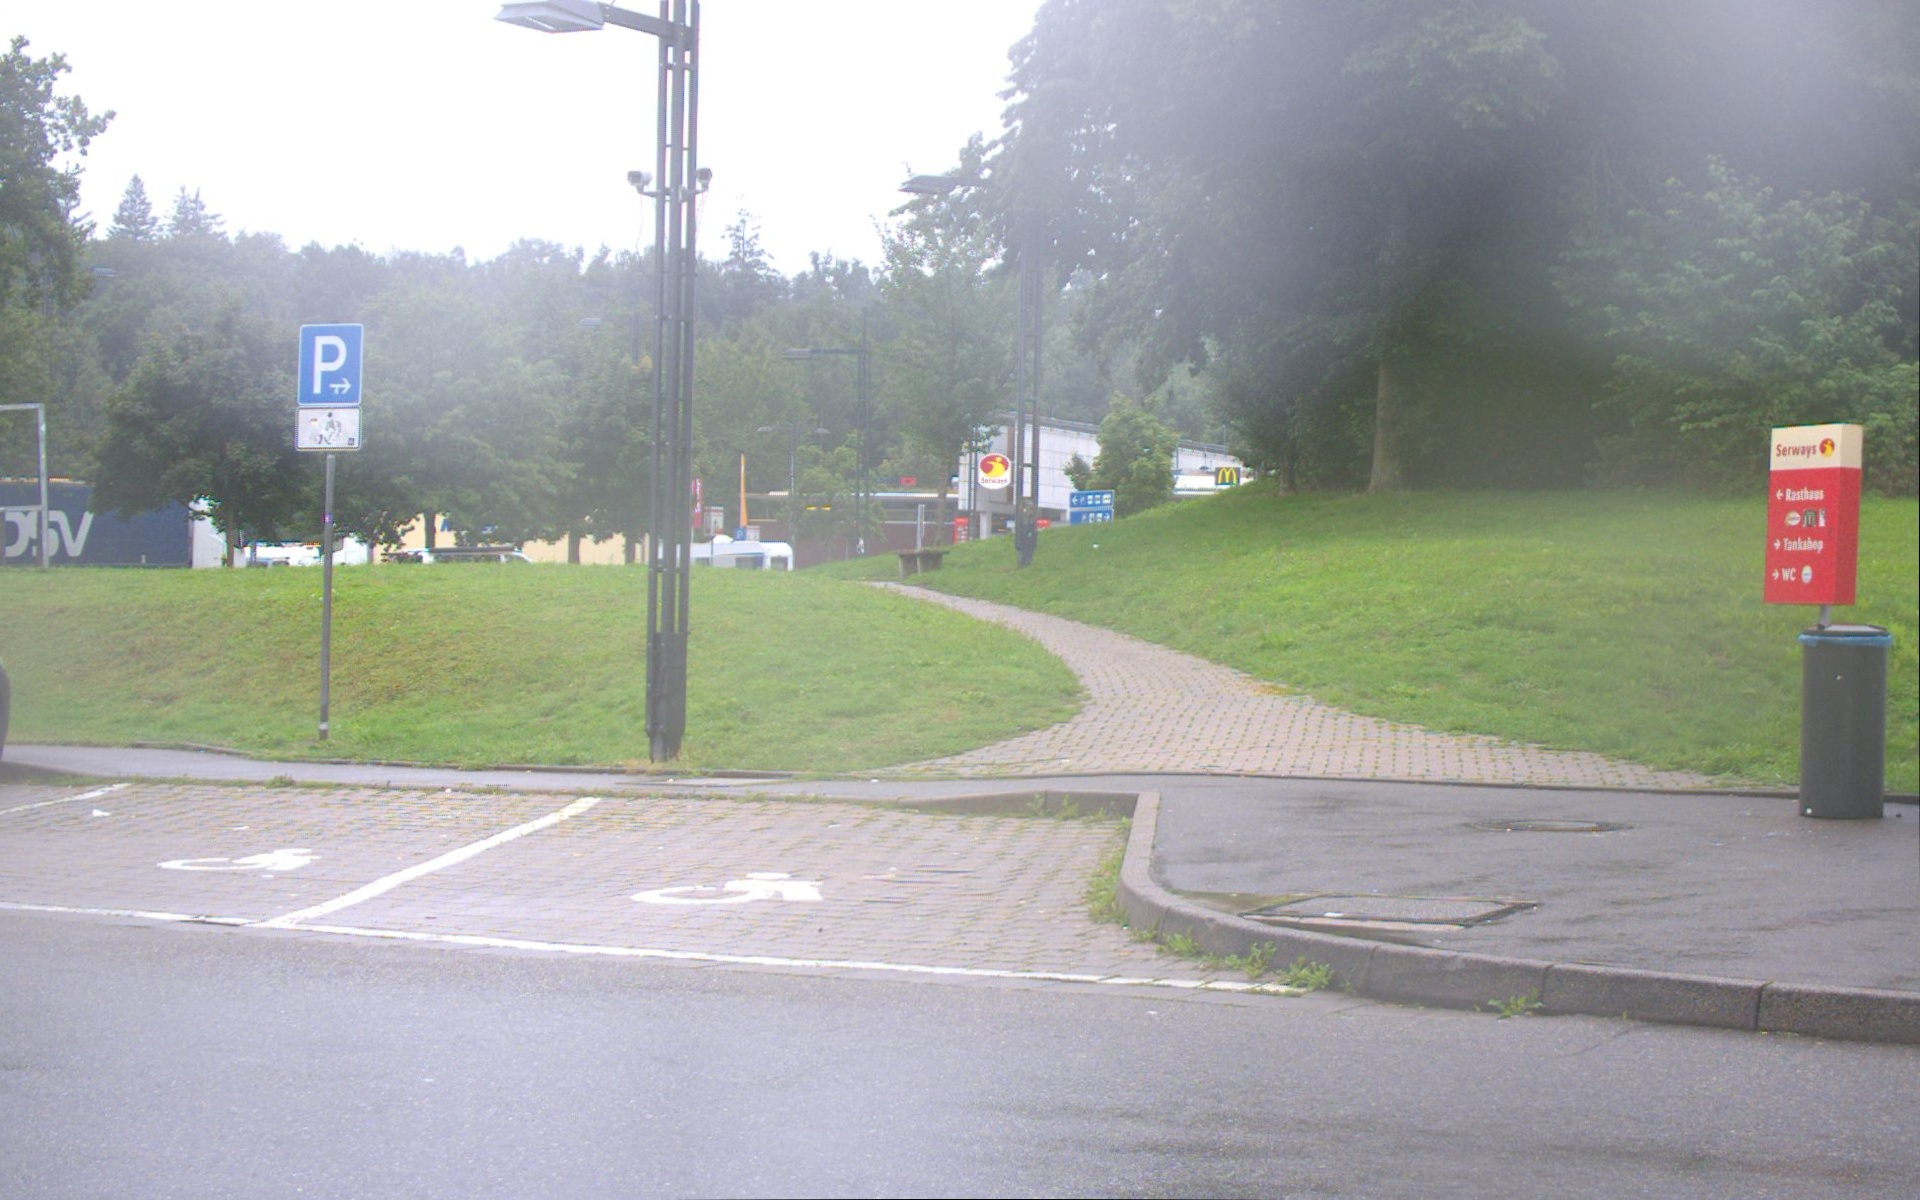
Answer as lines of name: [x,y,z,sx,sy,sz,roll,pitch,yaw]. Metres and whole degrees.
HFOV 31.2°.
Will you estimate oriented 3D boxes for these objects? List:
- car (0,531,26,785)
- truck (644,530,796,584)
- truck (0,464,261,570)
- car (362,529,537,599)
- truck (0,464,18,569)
car: [-7.805,0.453,21.498,2.018,1.705,4.341,-1,1,12]
truck: [-9.331,-1.671,133.813,5.413,2.007,2.364,1,1,25]
truck: [-25.468,-2.372,101.635,2.188,2.910,13.082,1,1,24]
car: [-13.290,-0.936,89.587,4.124,1.777,1.844,0,1,-36]
truck: [-28.607,-2.346,94.665,2.189,2.910,5.380,1,1,24]
